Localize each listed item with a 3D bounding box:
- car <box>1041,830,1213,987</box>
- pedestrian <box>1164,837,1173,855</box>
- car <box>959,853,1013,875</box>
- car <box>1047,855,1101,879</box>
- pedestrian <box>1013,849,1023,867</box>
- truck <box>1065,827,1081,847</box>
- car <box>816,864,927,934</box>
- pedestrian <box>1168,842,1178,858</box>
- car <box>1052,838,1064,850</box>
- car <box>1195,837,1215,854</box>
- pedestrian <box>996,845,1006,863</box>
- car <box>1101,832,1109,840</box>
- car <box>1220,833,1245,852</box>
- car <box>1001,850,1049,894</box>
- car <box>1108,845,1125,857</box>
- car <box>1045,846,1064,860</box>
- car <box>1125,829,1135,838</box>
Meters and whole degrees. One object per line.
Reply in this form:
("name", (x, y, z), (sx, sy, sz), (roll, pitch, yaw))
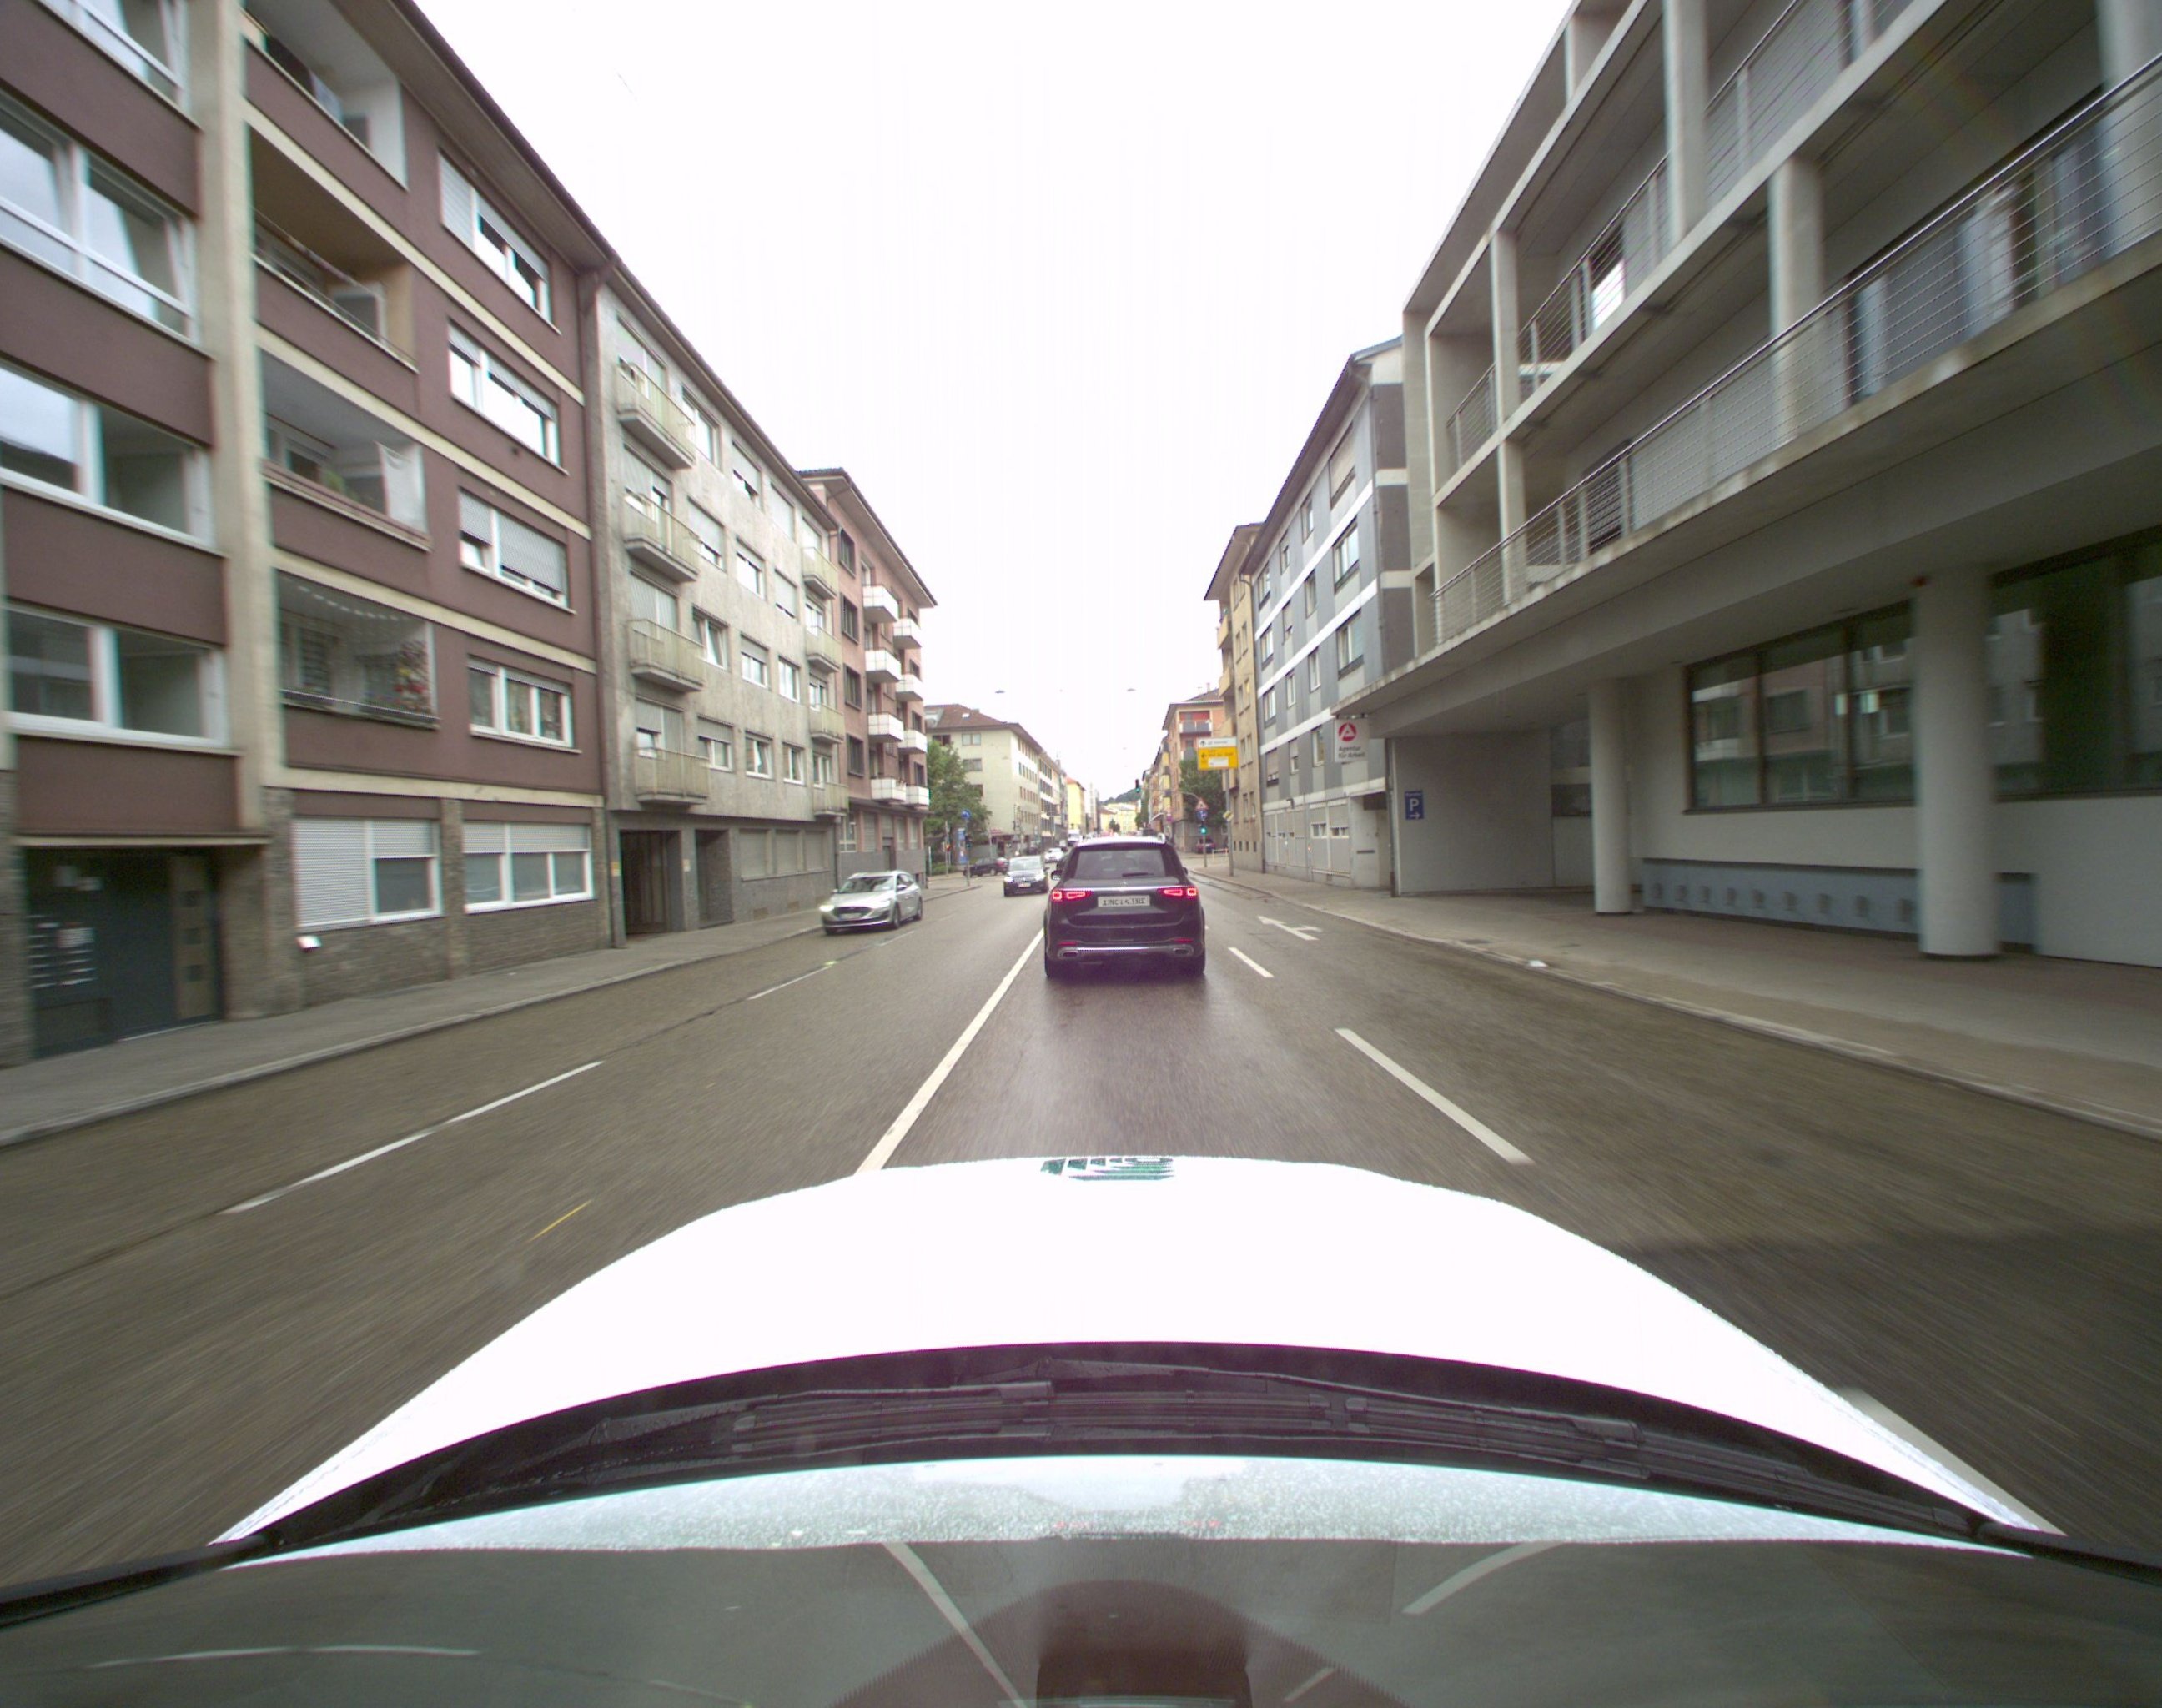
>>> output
("car", (0.605, 0.646, 11.588), (1.977, 1.805, 4.391), (0, -1, 2))
("pedestrian", (10.496, -0.966, 98.070), (0.920, 2.013, 0.706), (-3, 0, 0))
("car", (-8.039, 0.888, 68.805), (4.302, 1.539, 1.789), (-4, -1, 33))
("car", (-0.581, 0.959, 61.056), (1.786, 1.539, 4.311), (-3, -1, -35))
("pedestrian", (-6.342, 0.397, 81.691), (0.630, 1.764, 0.777), (-3, 0, 18))
("truck", (-1.421, -2.888, 144.285), (2.472, 3.046, 9.917), (-4, -1, 0))
("car", (-5.375, 1.102, 21.516), (1.767, 1.539, 4.356), (-4, -1, -1))
("pedestrian", (10.586, -0.484, 93.617), (0.920, 1.804, 0.706), (-3, 0, 0))
("car", (-3.319, -1.493, 118.864), (1.613, 1.539, 4.217), (-4, -1, 0))
("car", (12.399, -0.862, 81.390), (1.663, 1.588, 3.334), (-3, 0, 4))
("pedestrian", (-8.734, -0.004, 89.222), (0.920, 1.902, 0.706), (-3, 0, 0))
("car", (5.271, -4.040, 181.775), (1.613, 1.539, 4.217), (-4, -1, 0))
("car", (15.105, -1.147, 81.293), (1.816, 1.795, 3.833), (-3, 0, 1))
("car", (-2.354, 0.733, 35.205), (1.767, 1.645, 4.409), (-4, 1, -2))
("car", (4.504, -0.327, 103.102), (1.986, 1.351, 4.001), (-4, 0, 1))
("car", (-2.848, -0.087, 87.791), (1.879, 1.264, 4.217), (-4, -1, 0))
("car", (10.451, -4.251, 172.484), (1.718, 1.759, 4.217), (-4, 0, 0))
